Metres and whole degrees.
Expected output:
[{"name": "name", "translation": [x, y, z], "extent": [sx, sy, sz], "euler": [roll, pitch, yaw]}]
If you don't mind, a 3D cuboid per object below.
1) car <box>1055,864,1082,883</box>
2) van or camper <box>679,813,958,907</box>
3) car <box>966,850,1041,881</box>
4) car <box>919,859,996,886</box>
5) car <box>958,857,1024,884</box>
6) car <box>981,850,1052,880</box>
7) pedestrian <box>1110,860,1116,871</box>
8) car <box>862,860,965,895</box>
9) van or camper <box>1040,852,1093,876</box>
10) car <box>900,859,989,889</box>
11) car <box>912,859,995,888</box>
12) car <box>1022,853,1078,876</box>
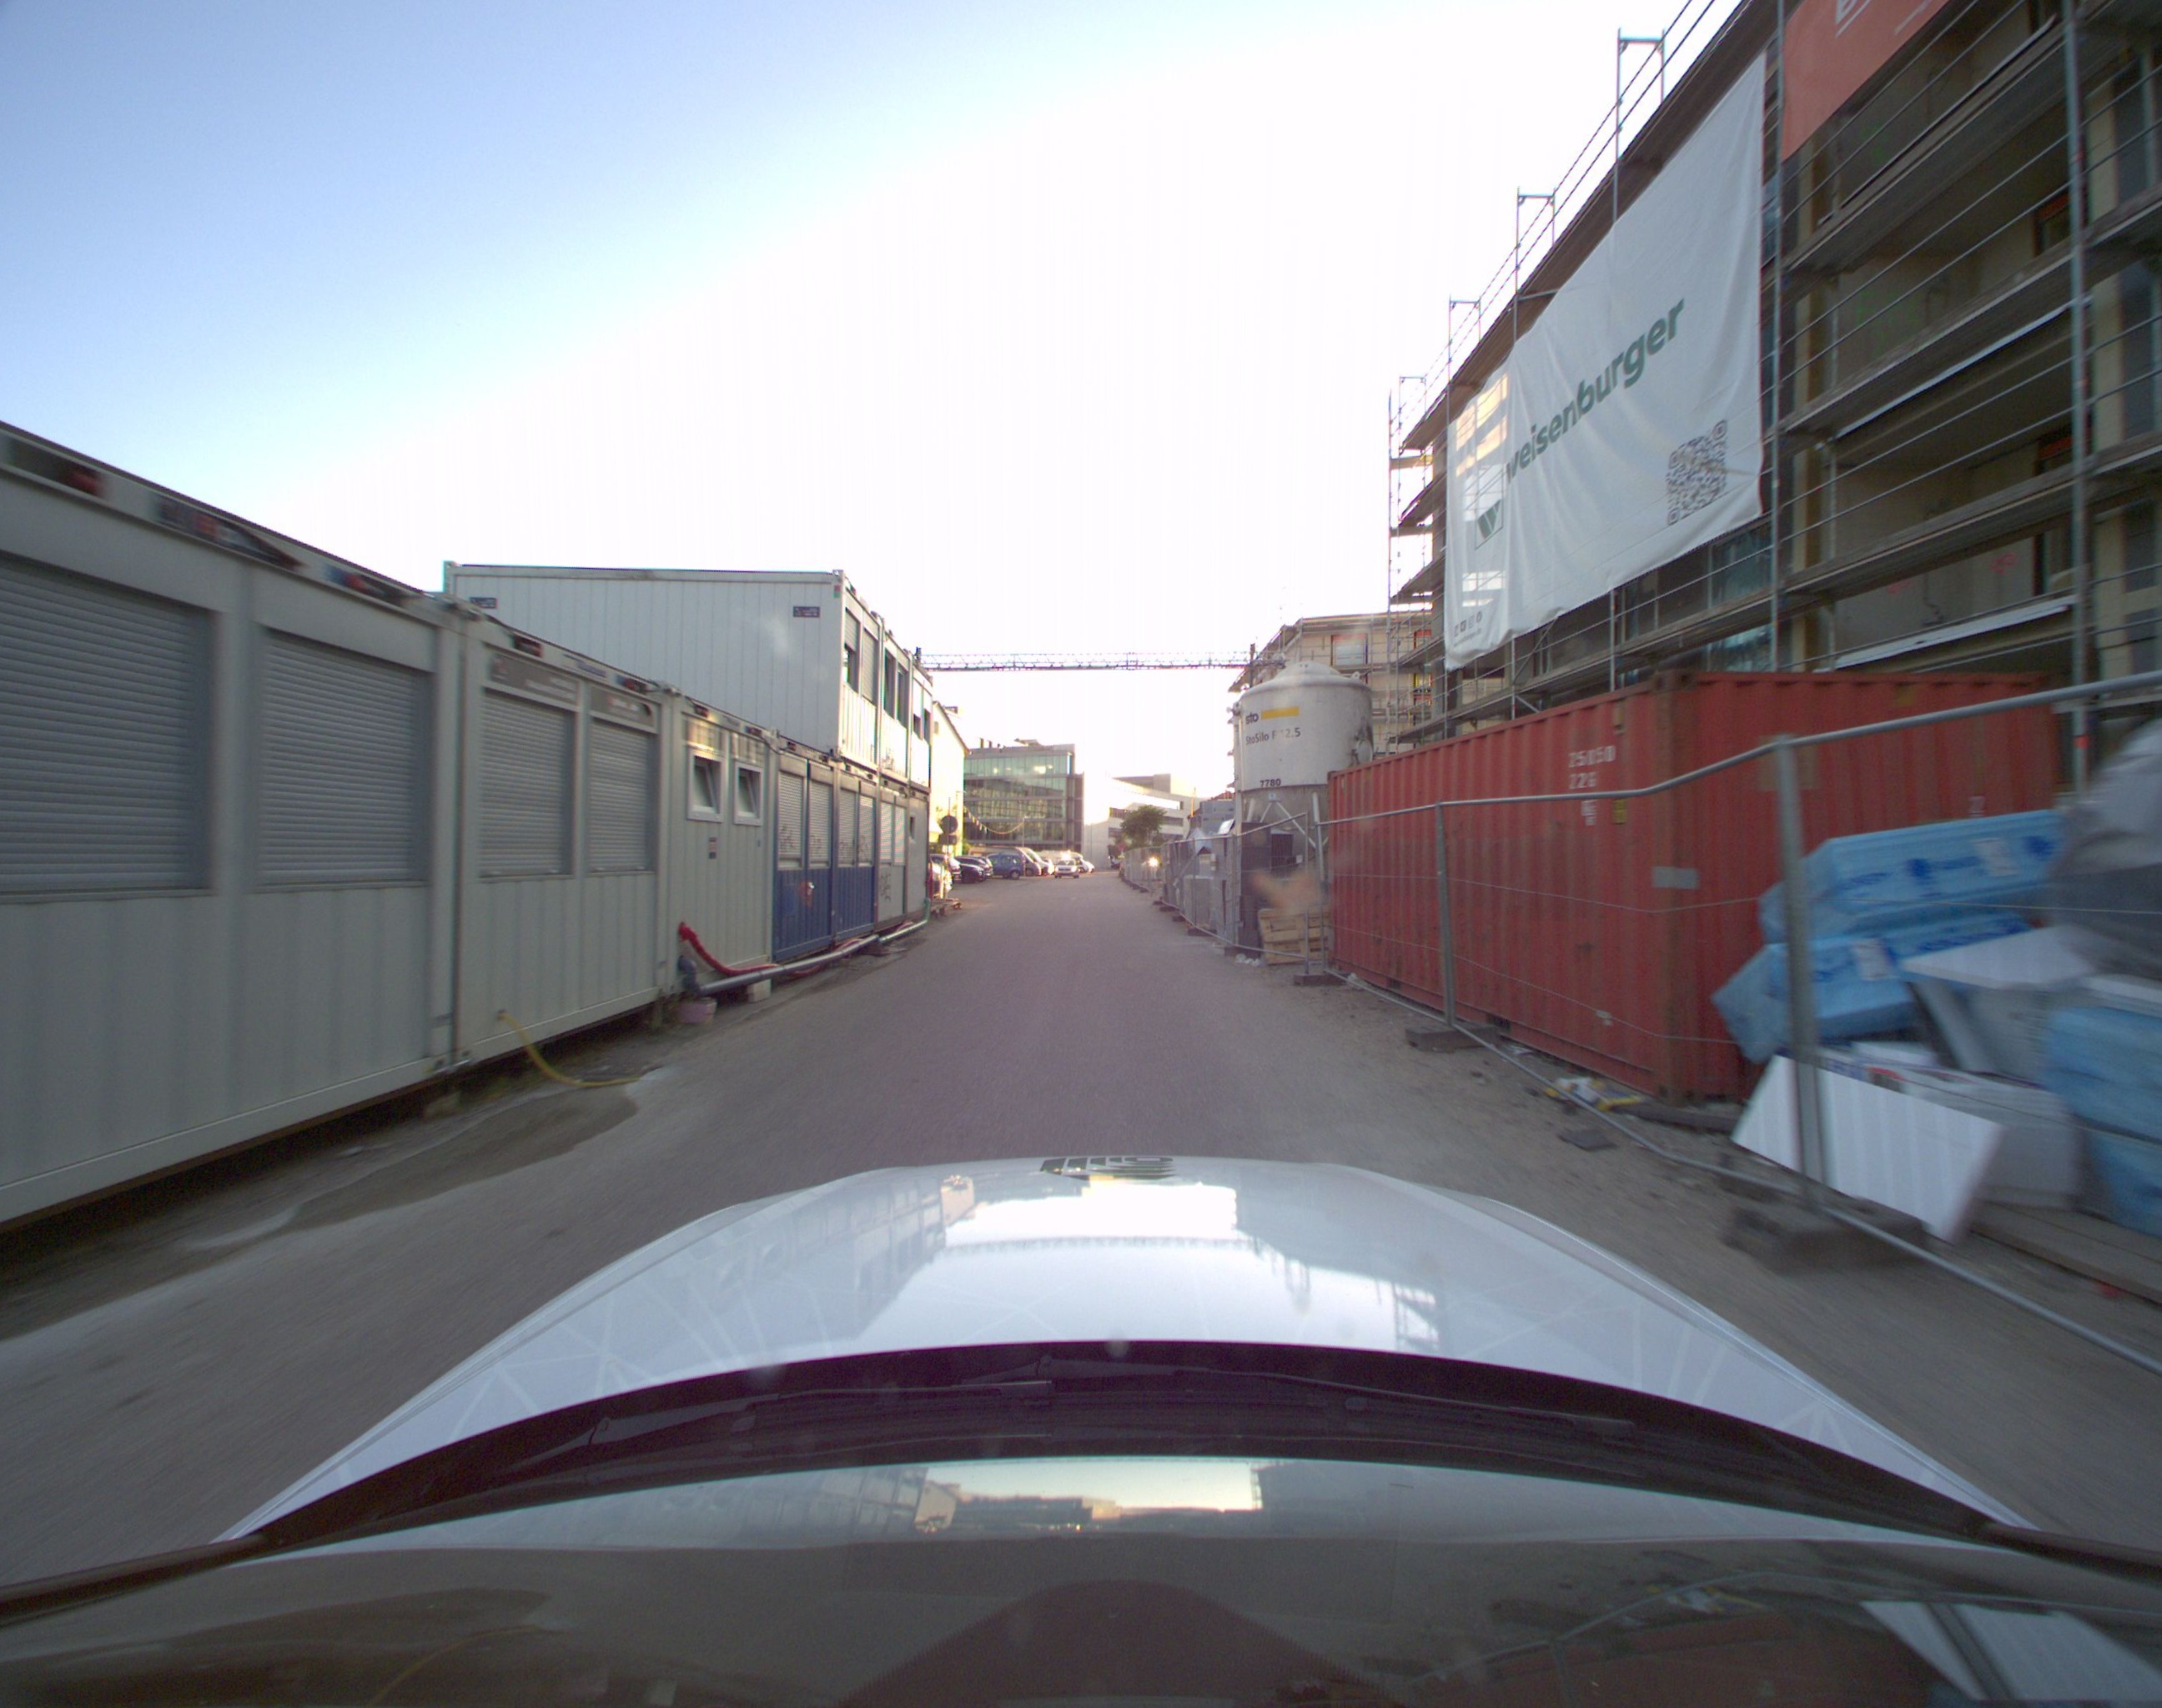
[{"name": "car", "translation": [-0.992, 1.566, 66.567], "extent": [1.656, 1.529, 3.917], "euler": [0, 0, 7]}, {"name": "van or camper", "translation": [-8.880, 0.205, 28.174], "extent": [8.731, 3.049, 2.596], "euler": [0, -1, 2]}, {"name": "car", "translation": [-6.693, 1.025, 71.008], "extent": [6.306, 2.651, 2.000], "euler": [0, -1, 0]}, {"name": "car", "translation": [-7.884, 1.186, 52.209], "extent": [4.477, 1.648, 2.005], "euler": [0, -1, 9]}, {"name": "car", "translation": [-6.279, 1.162, 57.032], "extent": [4.497, 1.868, 1.996], "euler": [0, -1, -6]}, {"name": "car", "translation": [-5.917, 1.017, 74.988], "extent": [6.306, 2.741, 2.000], "euler": [0, -1, 0]}, {"name": "pedestrian", "translation": [5.310, 1.931, 134.540], "extent": [0.756, 1.816, 0.850], "euler": [0, -1, 24]}, {"name": "car", "translation": [-8.199, 1.110, 40.027], "extent": [4.477, 1.648, 2.005], "euler": [0, -1, 9]}, {"name": "van or camper", "translation": [-1.860, 1.303, 104.206], "extent": [6.289, 2.979, 2.300], "euler": [1, -1, 12]}, {"name": "car", "translation": [-7.663, 1.092, 45.927], "extent": [4.477, 1.648, 2.005], "euler": [0, -1, 9]}, {"name": "car", "translation": [-7.592, 1.144, 48.812], "extent": [4.477, 1.648, 2.005], "euler": [0, -1, 9]}, {"name": "car", "translation": [-3.408, 1.113, 90.292], "extent": [5.885, 2.490, 2.006], "euler": [0, -1, 11]}]
